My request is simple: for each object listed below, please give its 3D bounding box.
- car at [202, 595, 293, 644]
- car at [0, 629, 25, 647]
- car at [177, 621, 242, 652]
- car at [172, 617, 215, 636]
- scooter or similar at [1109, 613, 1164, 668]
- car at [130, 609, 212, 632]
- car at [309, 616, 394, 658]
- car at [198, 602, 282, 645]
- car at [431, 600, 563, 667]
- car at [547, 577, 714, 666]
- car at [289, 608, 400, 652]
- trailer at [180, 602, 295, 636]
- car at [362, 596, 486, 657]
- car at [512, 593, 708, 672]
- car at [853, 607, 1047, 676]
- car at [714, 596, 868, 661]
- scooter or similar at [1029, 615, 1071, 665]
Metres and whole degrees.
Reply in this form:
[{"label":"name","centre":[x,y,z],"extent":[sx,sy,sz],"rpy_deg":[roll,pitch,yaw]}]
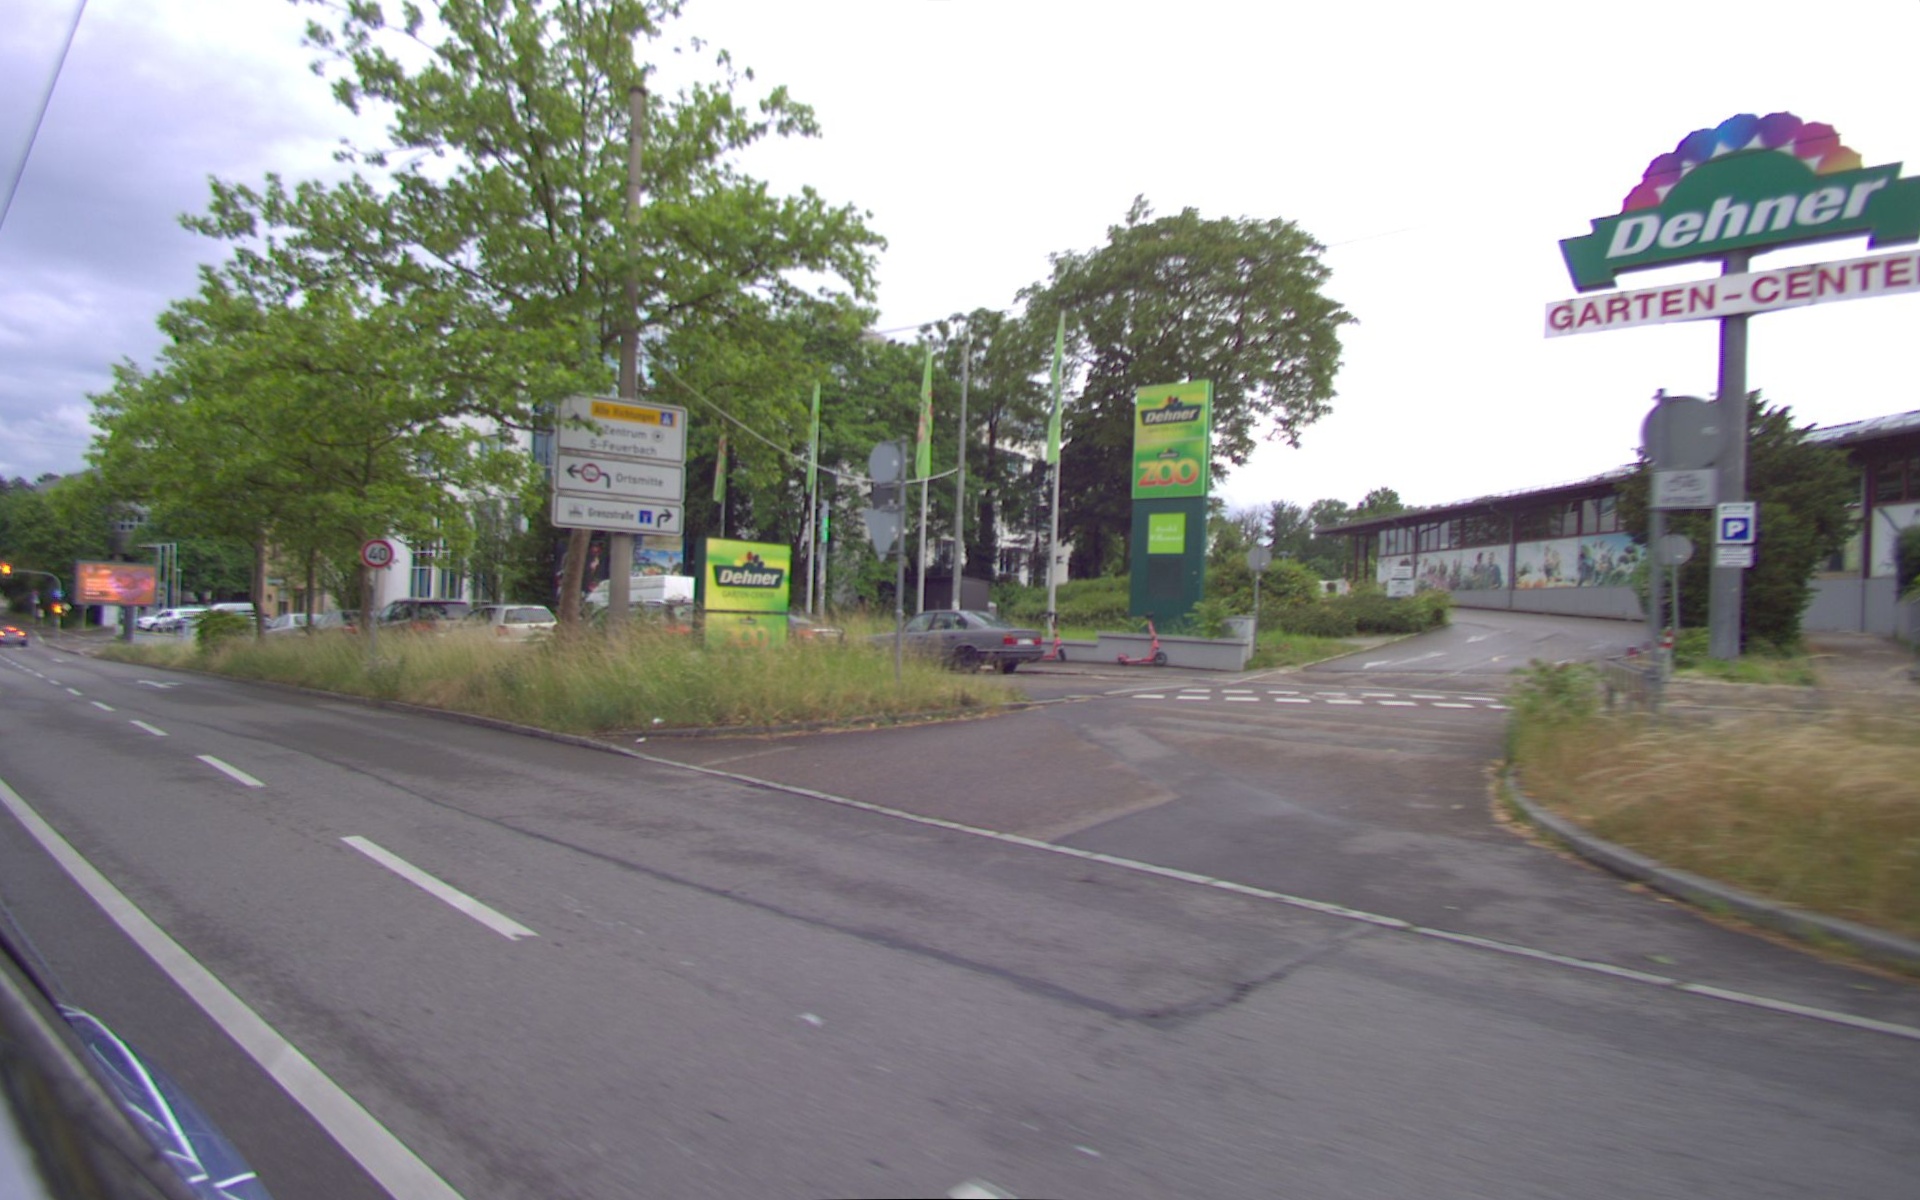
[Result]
[{"label":"car","centre":[-24.542,0.726,34.835],"extent":[3.989,1.552,1.575],"rpy_deg":[-3,-4,40]},{"label":"car","centre":[-69.966,2.806,74.512],"extent":[2.452,1.232,1.362],"rpy_deg":[1,-2,42]},{"label":"car","centre":[-39.797,1.975,53.625],"extent":[4.668,1.546,1.671],"rpy_deg":[-3,-4,40]},{"label":"car","centre":[-63.147,2.149,83.355],"extent":[1.227,1.435,2.649],"rpy_deg":[0,1,42]},{"label":"scooter or similar","centre":[4.105,0.953,23.576],"extent":[1.129,1.254,0.489],"rpy_deg":[-4,-4,39]},{"label":"car","centre":[-70.540,1.844,90.555],"extent":[2.215,1.815,5.308],"rpy_deg":[1,-1,35]},{"label":"car","centre":[-26.443,1.649,43.903],"extent":[4.580,1.759,1.752],"rpy_deg":[-3,-4,40]},{"label":"car","centre":[-27.752,0.946,38.963],"extent":[4.441,1.489,1.629],"rpy_deg":[-3,-4,42]},{"label":"car","centre":[-10.914,0.758,23.756],"extent":[3.706,1.405,1.346],"rpy_deg":[1,-2,41]},{"label":"car","centre":[-9.999,0.735,30.513],"extent":[5.647,2.462,1.944],"rpy_deg":[-3,-4,38]},{"label":"car","centre":[-18.434,0.932,30.244],"extent":[4.217,1.214,1.679],"rpy_deg":[-2,-4,42]},{"label":"trailer","centre":[-56.979,1.559,79.962],"extent":[2.394,2.446,7.023],"rpy_deg":[1,-2,41]},{"label":"car","centre":[-14.229,0.687,26.801],"extent":[3.644,1.463,1.636],"rpy_deg":[1,-2,41]},{"label":"car","centre":[-6.818,0.574,19.452],"extent":[4.544,1.303,1.521],"rpy_deg":[1,-2,42]},{"label":"car","centre":[-0.276,0.881,22.607],"extent":[4.266,1.328,1.390],"rpy_deg":[1,-1,33]},{"label":"car","centre":[-4.330,0.696,25.776],"extent":[3.665,1.479,1.825],"rpy_deg":[1,-1,37]},{"label":"scooter or similar","centre":[2.223,0.974,24.969],"extent":[0.920,1.164,0.395],"rpy_deg":[1,5,31]}]
